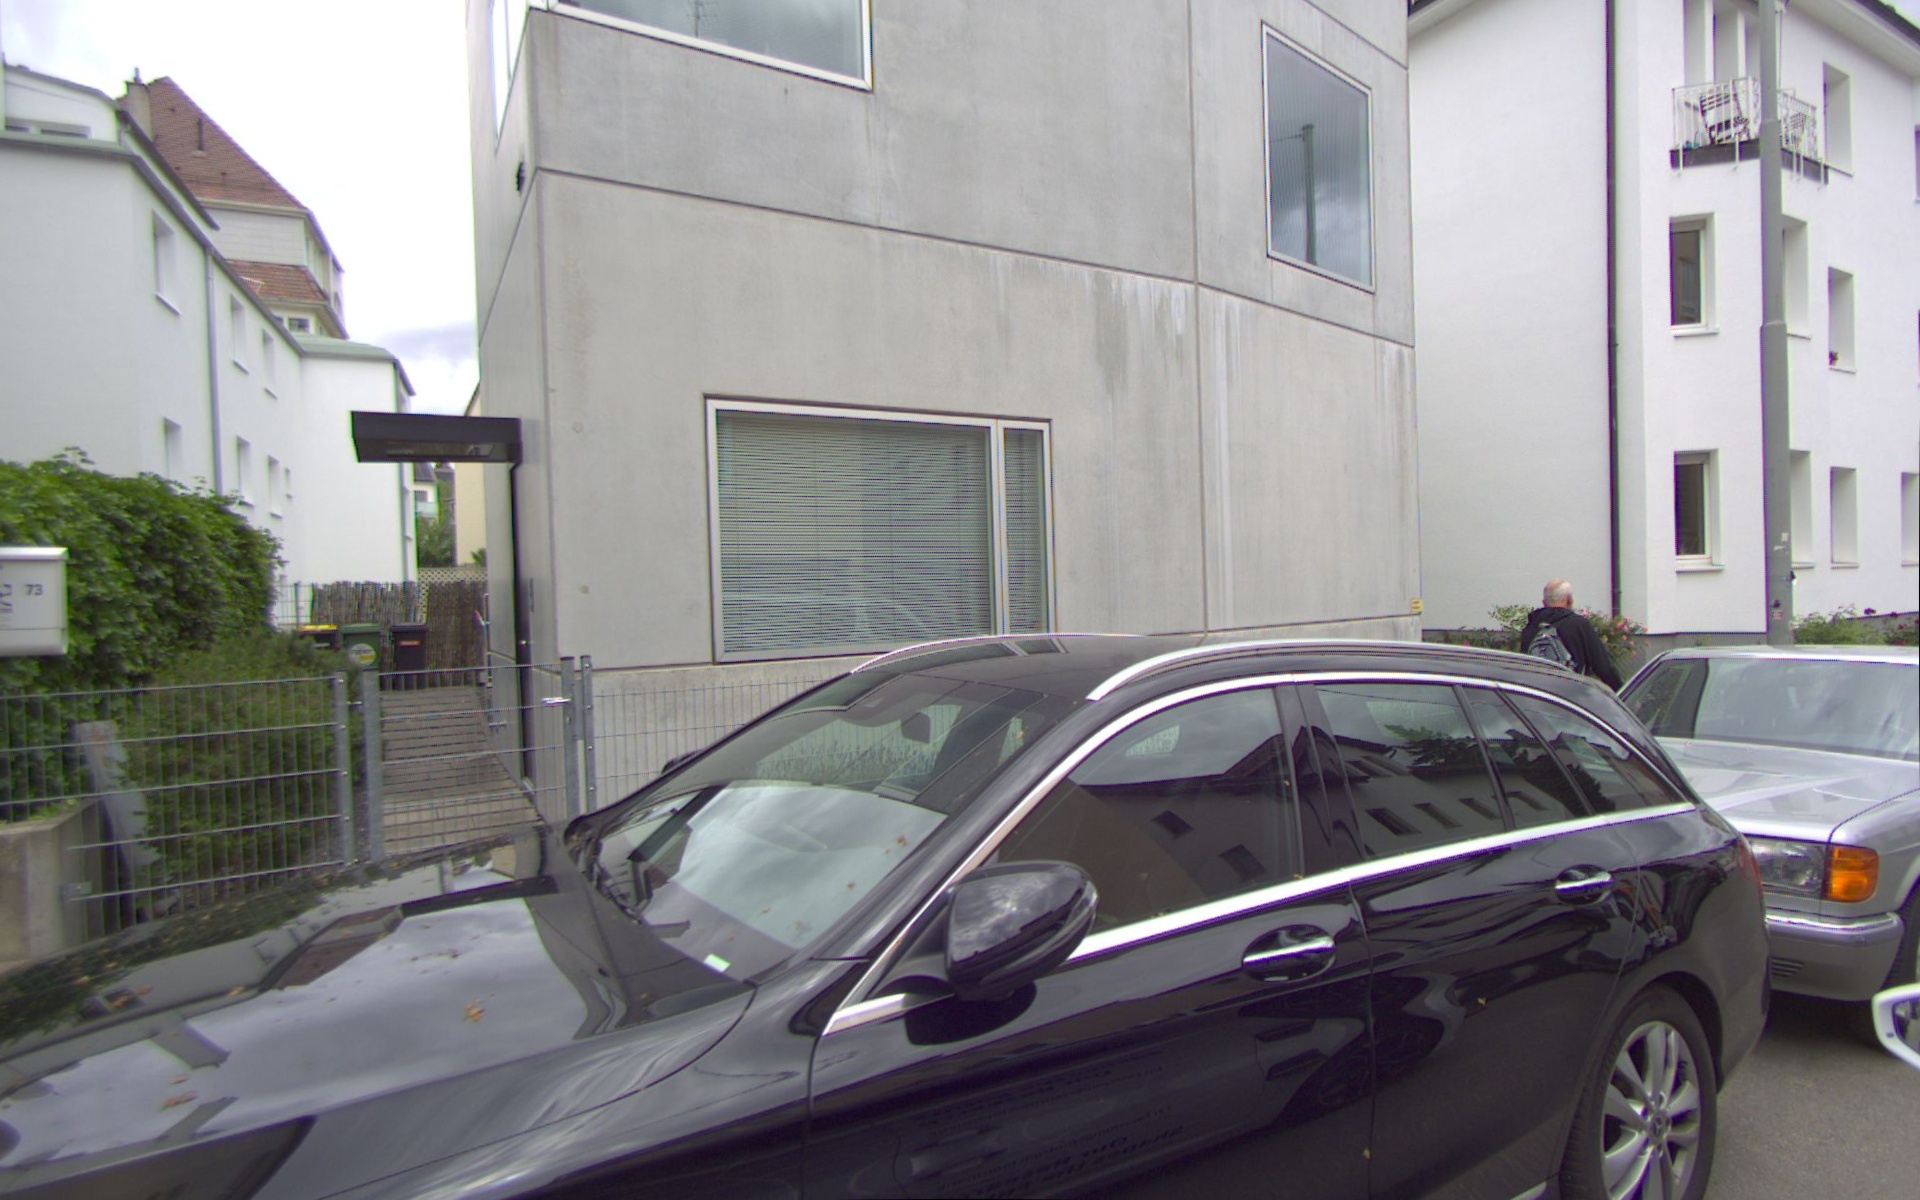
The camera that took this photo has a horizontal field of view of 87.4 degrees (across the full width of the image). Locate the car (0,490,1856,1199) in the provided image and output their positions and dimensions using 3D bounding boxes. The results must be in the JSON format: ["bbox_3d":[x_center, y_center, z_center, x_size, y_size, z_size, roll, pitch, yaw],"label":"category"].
[{"bbox_3d":[0.227,0.746,2.519,4.421,1.547,1.885,2,-2,-32],"label":"car"}]

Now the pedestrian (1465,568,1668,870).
[{"bbox_3d":[4.088,0.763,6.835,0.831,1.909,0.818,0,-1,-7],"label":"pedestrian"}]

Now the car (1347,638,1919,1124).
[{"bbox_3d":[4.395,0.929,5.117,5.002,1.431,1.836,1,-1,-30],"label":"car"}]
